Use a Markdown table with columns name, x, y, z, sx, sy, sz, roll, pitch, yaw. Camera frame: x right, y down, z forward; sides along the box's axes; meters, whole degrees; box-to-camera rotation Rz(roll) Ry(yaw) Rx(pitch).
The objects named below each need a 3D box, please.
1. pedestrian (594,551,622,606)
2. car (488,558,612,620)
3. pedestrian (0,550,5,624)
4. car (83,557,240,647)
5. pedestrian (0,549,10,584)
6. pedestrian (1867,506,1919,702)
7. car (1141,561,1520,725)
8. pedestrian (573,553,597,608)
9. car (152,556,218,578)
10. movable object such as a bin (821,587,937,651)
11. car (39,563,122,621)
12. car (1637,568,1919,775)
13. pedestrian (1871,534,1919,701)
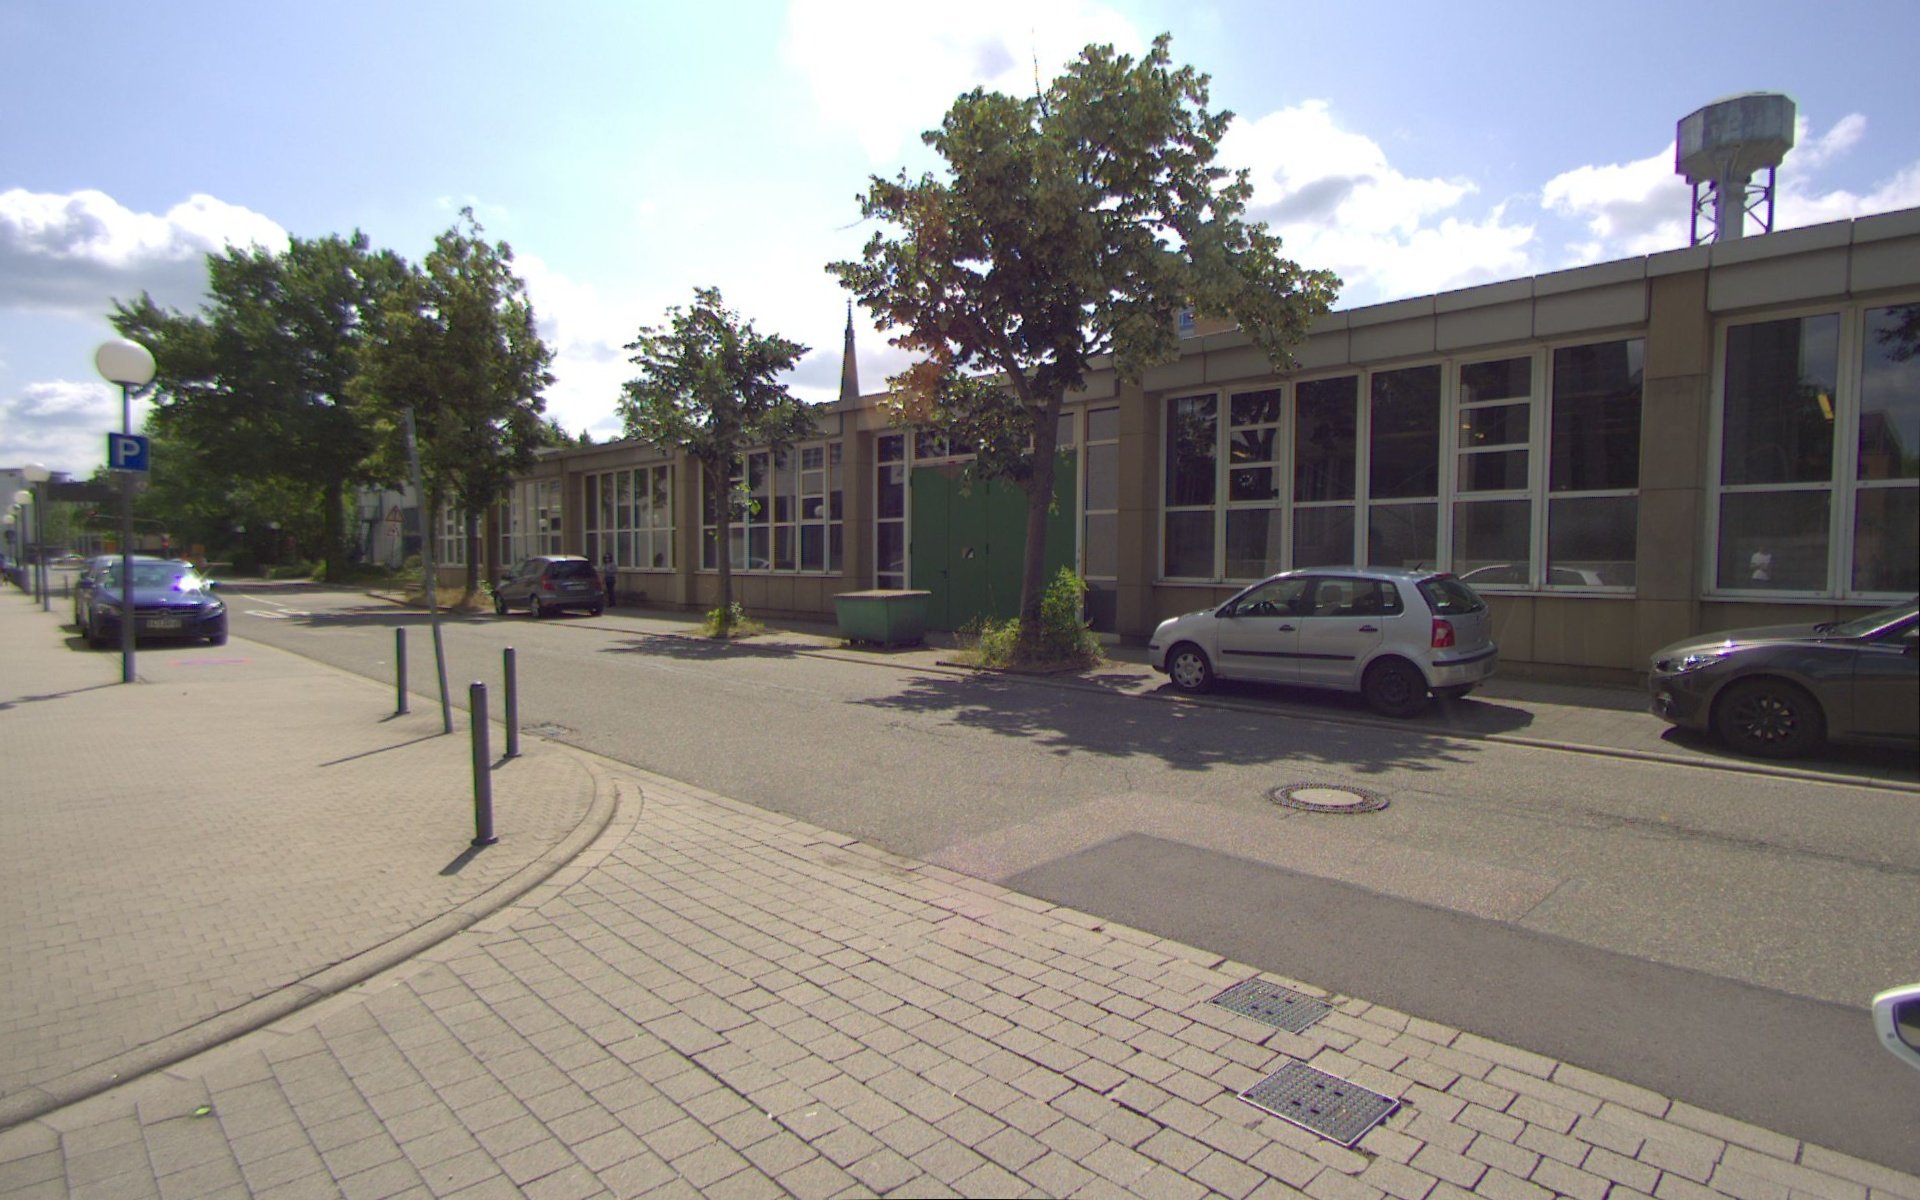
| name | x | y | z | sx | sy | sz | roll | pitch | yaw |
| --- | --- | --- | --- | --- | --- | --- | --- | --- | --- |
| pedestrian | -10.587 | -0.640 | 30.209 | 0.543 | 1.602 | 0.602 | 2 | 1 | 43 |
| car | -11.139 | -0.352 | 27.182 | 1.792 | 1.469 | 3.627 | -6 | 6 | -45 |
| pedestrian | -20.942 | -0.284 | 21.592 | 0.597 | 1.602 | 0.548 | 2 | 1 | 42 |
| car | -14.253 | 0.008 | 17.857 | 1.832 | 1.417 | 3.827 | 0 | 0 | -44 |
| pedestrian | -45.213 | -1.585 | 47.489 | 0.380 | 1.651 | 0.513 | 2 | 0 | -43 |
| pedestrian | 8.828 | 0.033 | 9.138 | 0.787 | 1.751 | 0.597 | 3 | 3 | 45 |
| car | 4.058 | 0.337 | 11.383 | 1.624 | 1.469 | 3.702 | -6 | 6 | -45 |
| pedestrian | -11.023 | -0.570 | 29.531 | 0.595 | 1.602 | 0.549 | 1 | 1 | -14 |
| car | -59.121 | -2.522 | 76.665 | 1.779 | 1.469 | 3.653 | 2 | 6 | 44 |
| movable object such as a bin | -1.458 | 0.313 | 18.012 | 1.287 | 0.998 | 1.674 | -5 | 4 | -43 |
| car | -28.251 | -0.253 | 32.228 | 1.788 | 1.724 | 3.947 | 2 | 0 | -44 |
| car | 7.874 | 0.510 | 7.680 | 1.719 | 1.455 | 4.232 | -5 | 4 | -45 |
| pedestrian | 9.303 | 0.160 | 9.618 | 0.787 | 1.563 | 0.660 | 3 | 3 | 45 |
